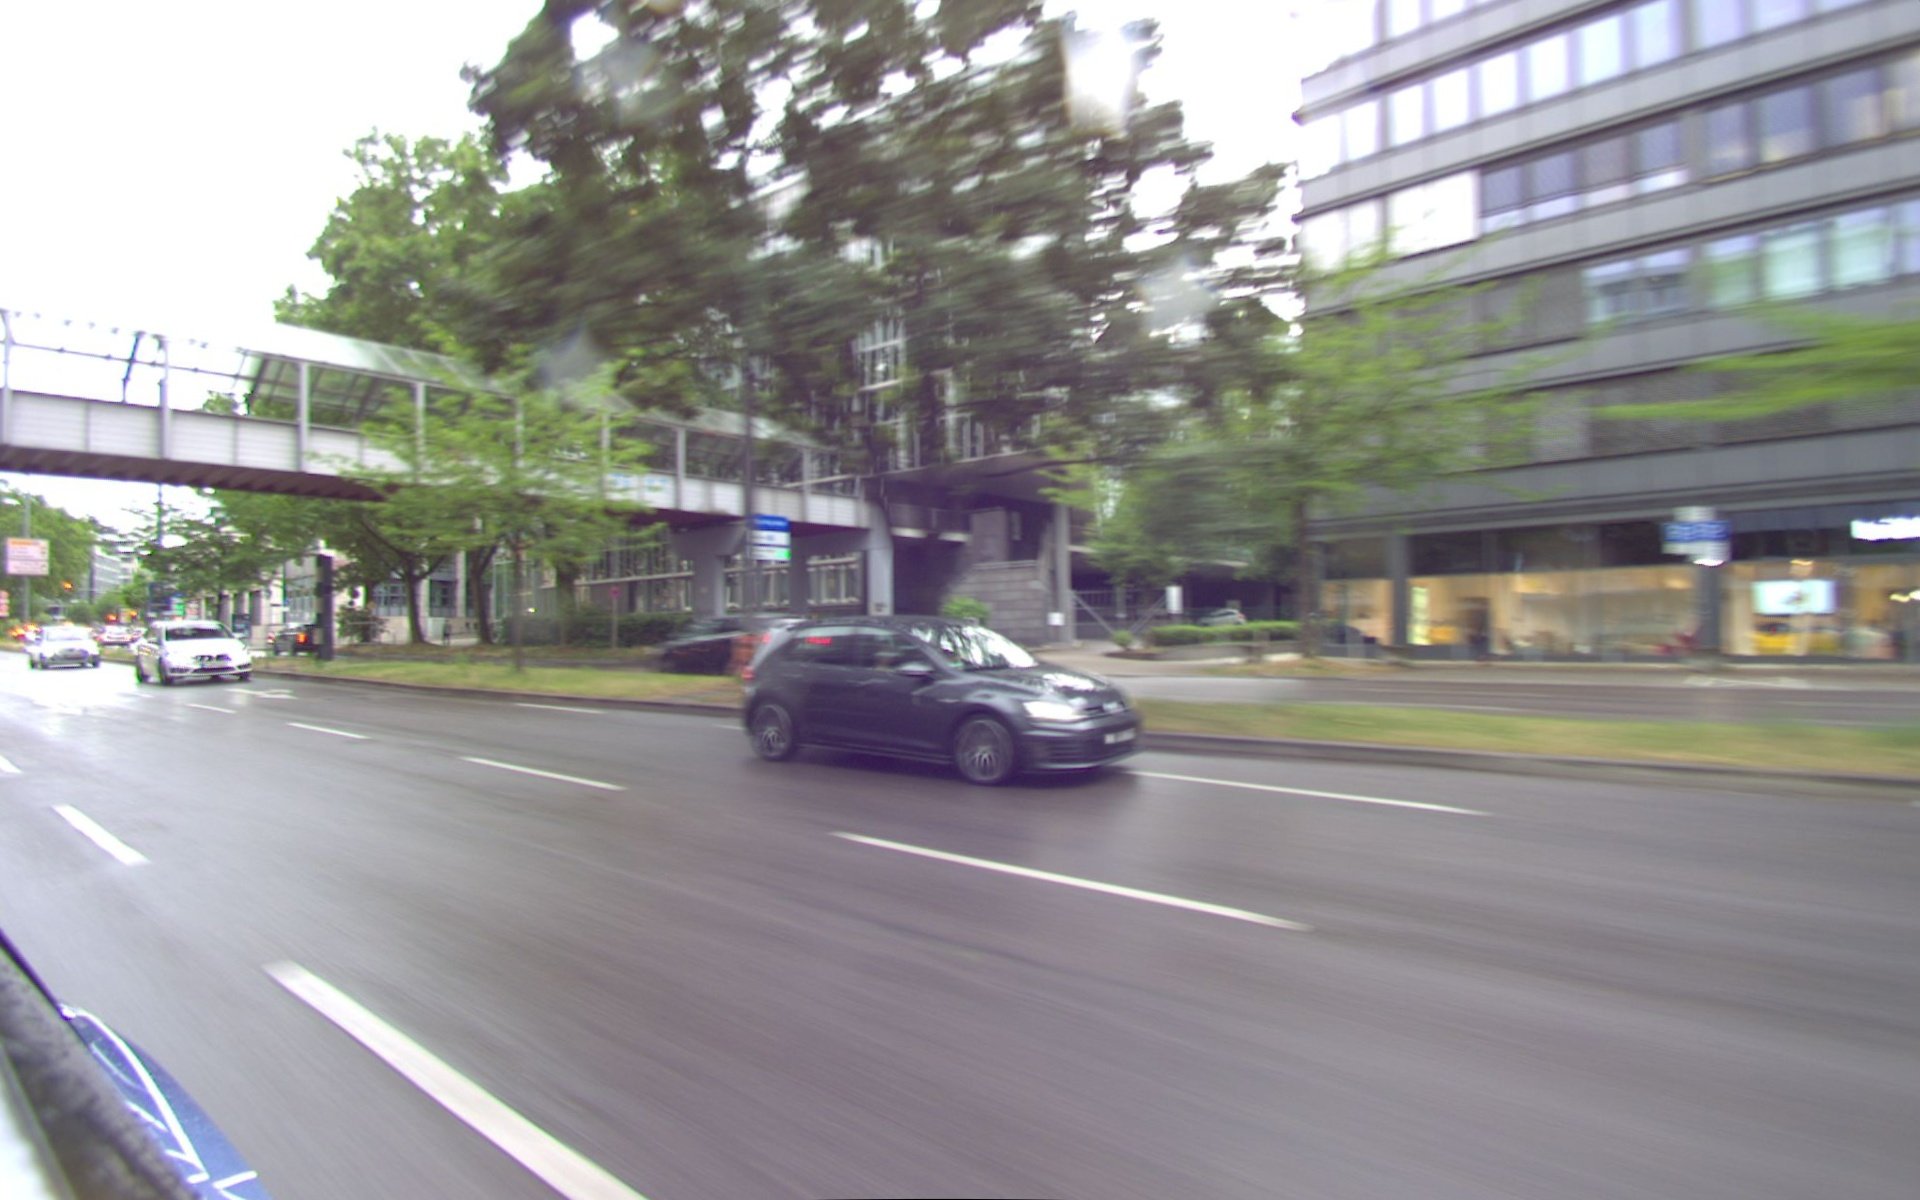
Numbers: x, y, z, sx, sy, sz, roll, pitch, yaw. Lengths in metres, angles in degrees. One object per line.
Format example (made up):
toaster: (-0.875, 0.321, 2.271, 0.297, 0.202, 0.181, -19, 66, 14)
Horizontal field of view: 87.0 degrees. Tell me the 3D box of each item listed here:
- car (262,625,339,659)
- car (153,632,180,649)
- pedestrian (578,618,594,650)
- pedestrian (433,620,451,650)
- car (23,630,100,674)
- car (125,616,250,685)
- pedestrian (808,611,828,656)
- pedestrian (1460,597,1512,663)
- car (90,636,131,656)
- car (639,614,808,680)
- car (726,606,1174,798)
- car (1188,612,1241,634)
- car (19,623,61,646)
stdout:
car: (-36.399, 2.327, 55.804, 5.180, 1.782, 1.980, -1, -4, 39)
car: (-71.240, 3.583, 90.872, 1.574, 1.426, 3.403, 1, -1, -44)
pedestrian: (-19.660, 1.792, 53.194, 0.511, 1.699, 0.553, -2, -2, 41)
pedestrian: (-32.424, 2.175, 63.363, 0.802, 1.821, 0.727, -2, -2, 41)
car: (-33.076, 1.863, 37.223, 3.491, 1.452, 1.592, -1, 1, 40)
car: (-19.670, 1.222, 25.715, 3.998, 1.608, 1.758, -1, -1, 41)
pedestrian: (-5.844, 1.389, 41.691, 0.511, 1.821, 0.599, -2, -2, 41)
pedestrian: (14.004, 0.795, 26.938, 1.056, 1.728, 0.735, -2, -1, 40)
car: (-65.272, 3.491, 77.724, 4.077, 1.475, 1.645, -1, -3, 39)
car: (-5.135, 0.961, 21.858, 3.611, 1.321, 1.609, -1, -1, 36)
car: (-0.222, 0.838, 9.774, 4.117, 1.463, 1.767, -2, -1, 38)
car: (17.654, 1.602, 70.446, 3.457, 1.434, 1.607, -2, -1, 12)
car: (-71.286, 2.681, 78.406, 4.678, 1.693, 1.854, -1, -1, 41)
